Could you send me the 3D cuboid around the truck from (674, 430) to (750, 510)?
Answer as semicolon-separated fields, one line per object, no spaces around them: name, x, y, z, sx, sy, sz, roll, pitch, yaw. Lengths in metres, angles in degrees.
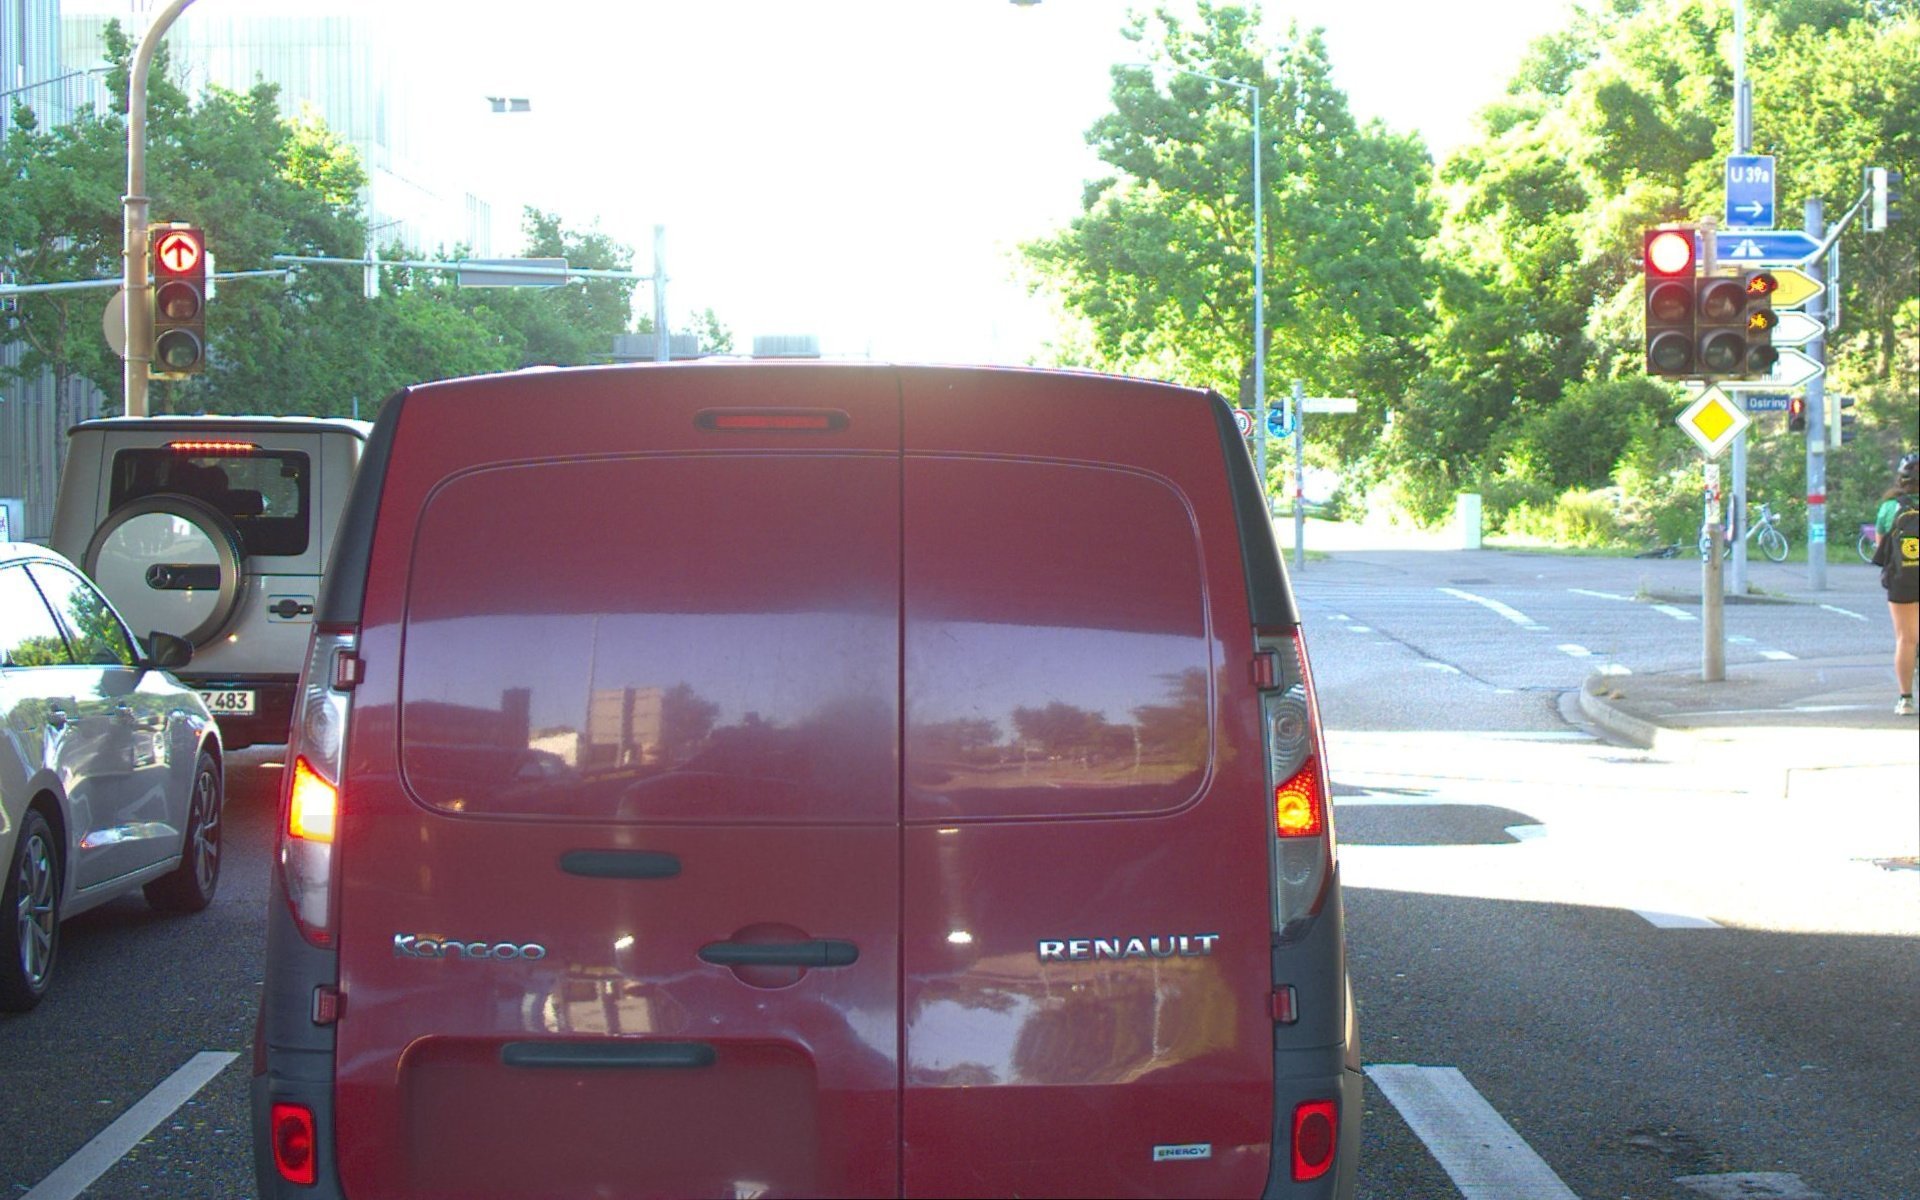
truck;-9.890;-5.182;137.736;2.409;3.016;6.657;-2;2;0

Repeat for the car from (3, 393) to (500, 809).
car;-3.719;-0.017;18.848;1.801;1.982;4.589;1;1;-1

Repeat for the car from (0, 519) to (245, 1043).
car;-3.639;0.468;11.411;1.813;1.433;3.731;0;2;-1

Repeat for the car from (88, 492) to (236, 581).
car;-16.568;-1.347;71.625;1.825;1.731;4.629;-2;2;1

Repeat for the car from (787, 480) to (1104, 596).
car;-0.203;-0.788;43.983;3.745;1.443;1.696;0;1;-14

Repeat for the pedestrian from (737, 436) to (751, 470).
pedestrian;-13.084;-8.918;208.212;0.740;2.007;0.637;1;0;3

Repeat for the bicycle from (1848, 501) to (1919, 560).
bicycle;16.665;-1.231;60.919;1.745;1.020;0.593;1;0;9

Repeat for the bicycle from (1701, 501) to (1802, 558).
bicycle;14.355;-1.278;62.381;1.745;1.020;0.593;1;0;9

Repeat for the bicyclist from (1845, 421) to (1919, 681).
bicyclist;6.047;-0.306;21.795;0.591;1.608;0.942;1;0;-1

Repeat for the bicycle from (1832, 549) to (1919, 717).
bicycle;6.056;0.193;21.766;0.591;1.020;1.750;1;1;-1

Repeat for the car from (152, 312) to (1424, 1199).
car;-0.272;0.474;6.927;1.805;1.788;4.000;1;1;-1
